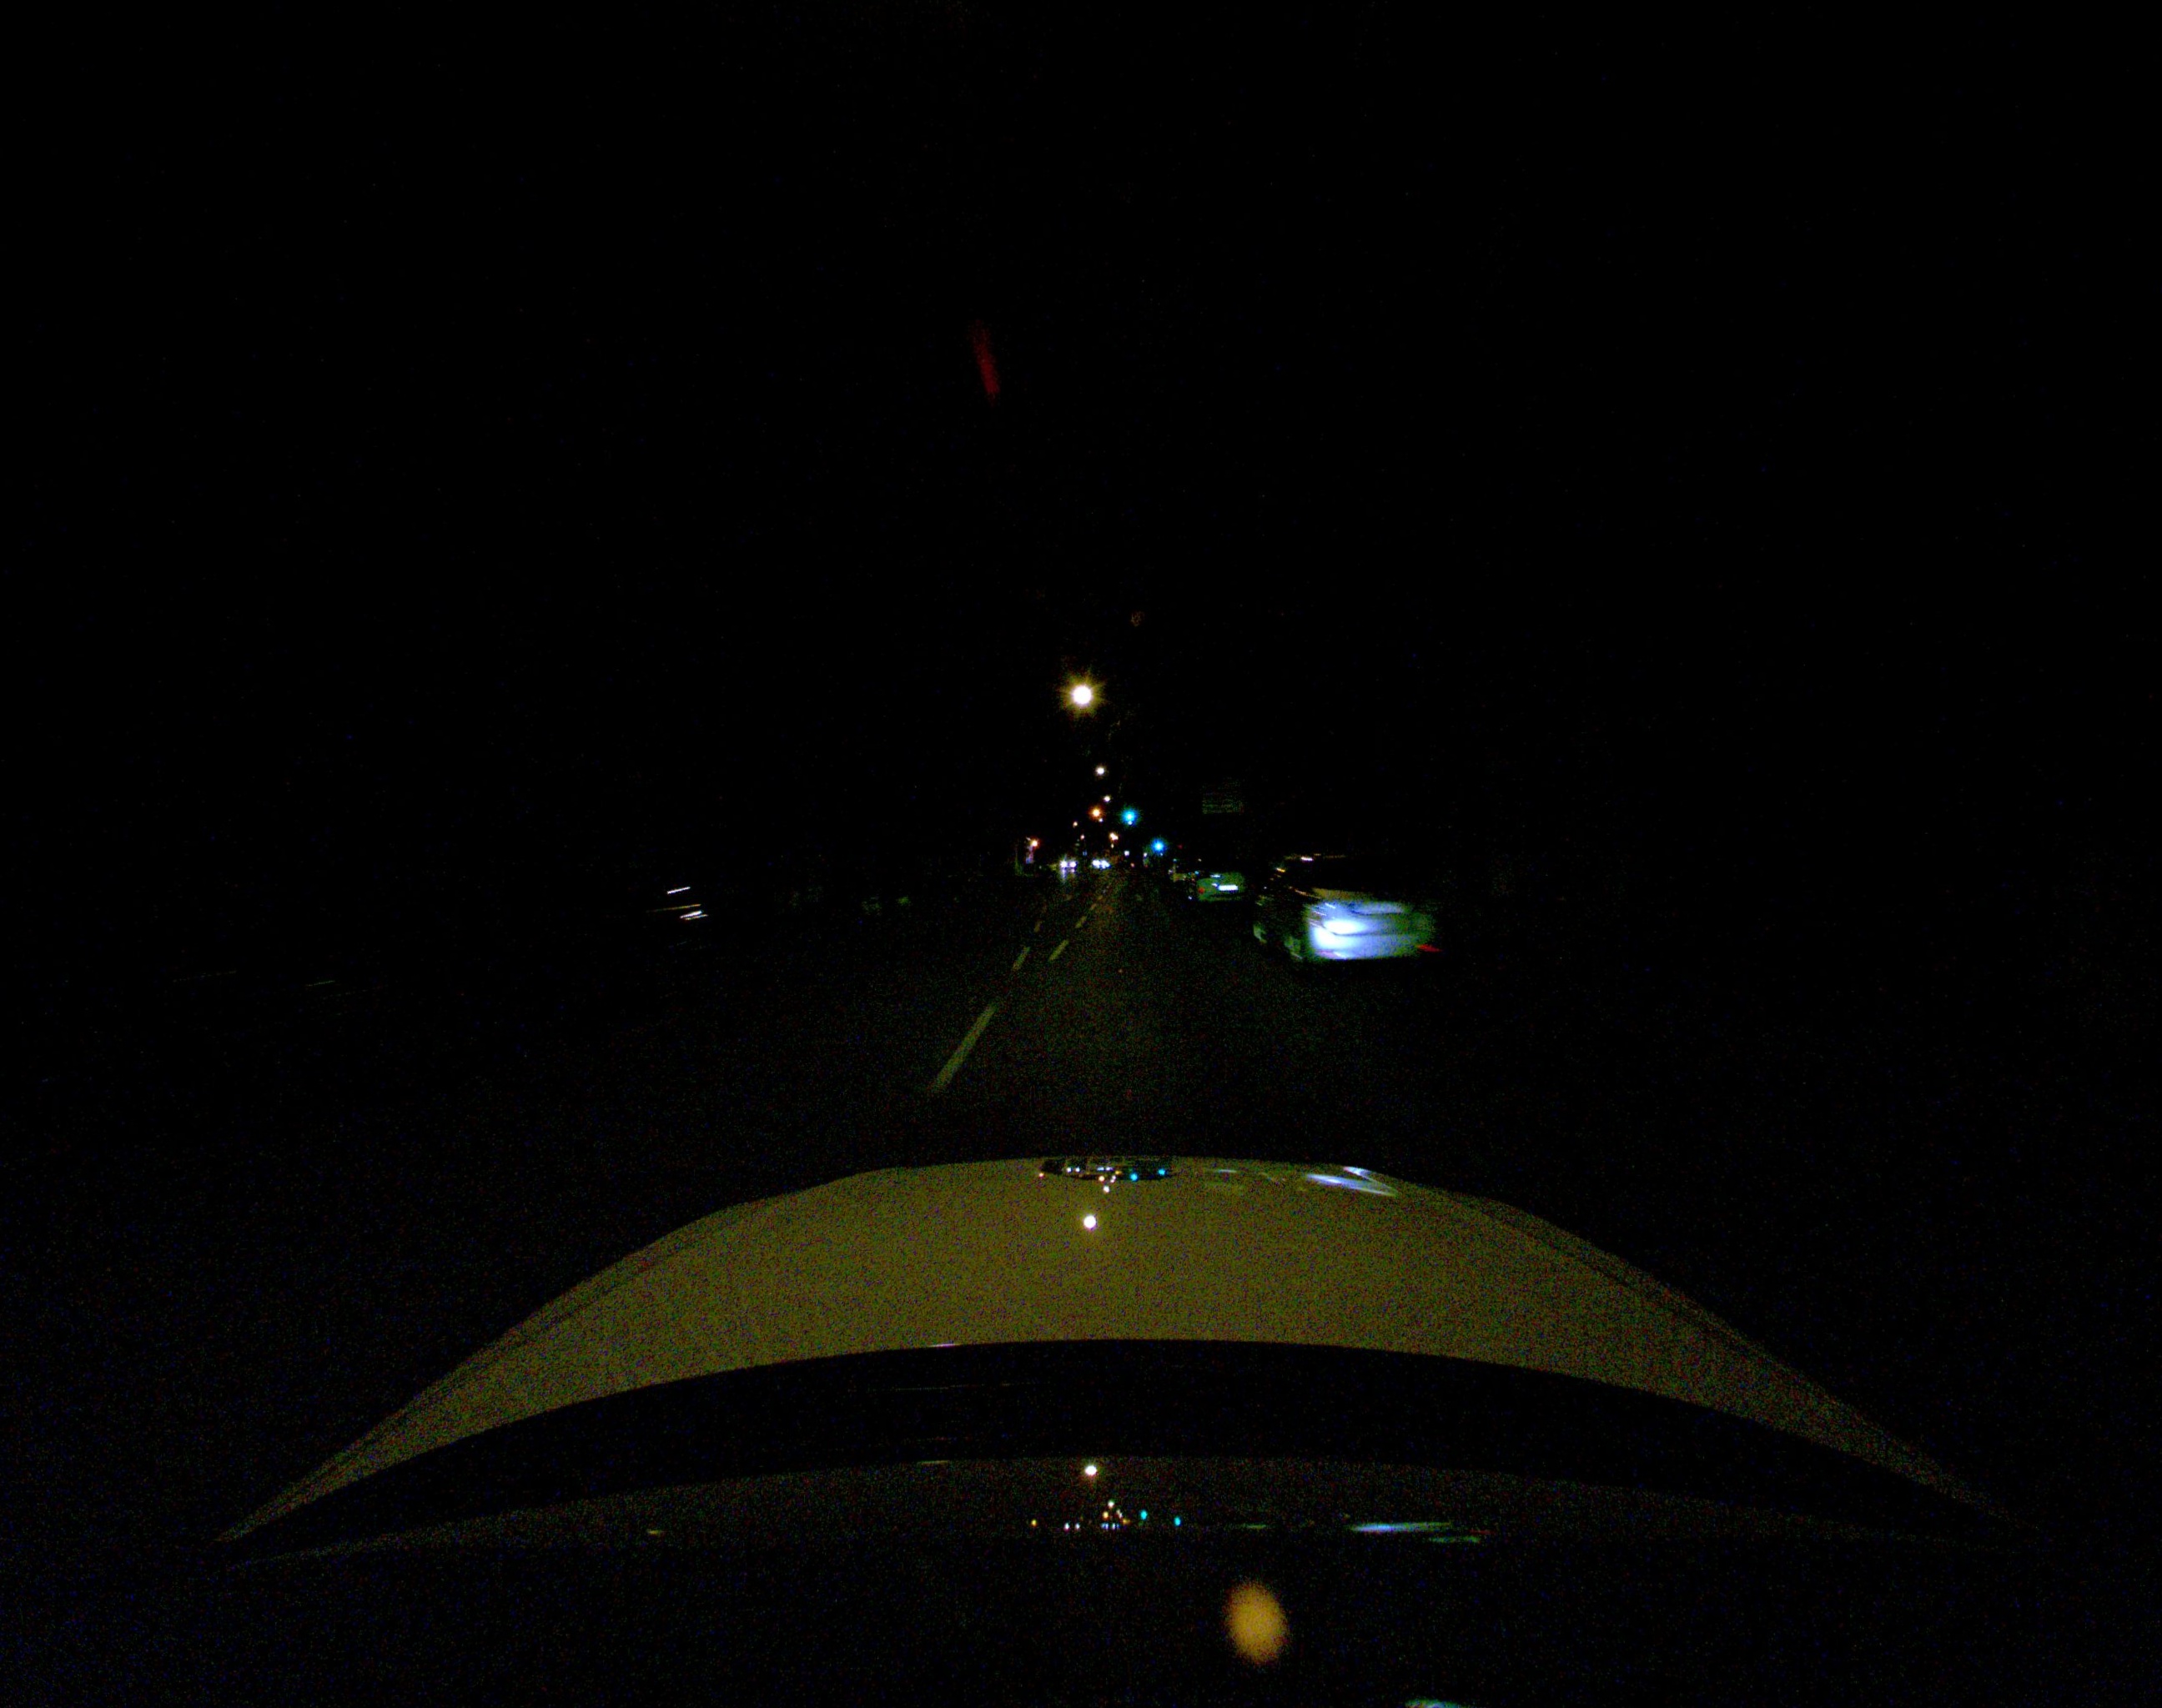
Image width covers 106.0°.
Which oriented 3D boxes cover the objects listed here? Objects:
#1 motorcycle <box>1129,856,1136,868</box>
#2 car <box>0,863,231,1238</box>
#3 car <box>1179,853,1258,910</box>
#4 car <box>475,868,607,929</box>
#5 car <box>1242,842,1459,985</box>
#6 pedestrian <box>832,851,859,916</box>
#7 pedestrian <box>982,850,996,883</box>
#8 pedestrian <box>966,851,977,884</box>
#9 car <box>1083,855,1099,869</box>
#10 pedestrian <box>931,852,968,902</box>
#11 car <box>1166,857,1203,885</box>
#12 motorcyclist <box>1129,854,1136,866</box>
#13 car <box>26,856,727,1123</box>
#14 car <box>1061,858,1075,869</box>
[{"bbox_3d":[7.142,1.111,112.988,0.927,1.752,2.626,0,-1,3],"label":"motorcycle"},{"bbox_3d":[-5.081,0.759,1.886,1.714,1.437,4.192,0,0,2],"label":"car"},{"bbox_3d":[4.100,0.772,24.948,1.861,1.526,4.152,-2,0,3],"label":"car"},{"bbox_3d":[-14.117,1.101,21.268,3.224,1.453,1.806,-1,-2,35],"label":"car"},{"bbox_3d":[3.549,0.691,11.600,1.804,1.594,4.276,-2,0,3],"label":"car"},{"bbox_3d":[-6.287,0.778,21.778,0.580,1.700,0.530,0,-1,-6],"label":"pedestrian"},{"bbox_3d":[-4.939,0.667,43.637,0.717,1.765,0.602,0,-1,-6],"label":"pedestrian"},{"bbox_3d":[-5.780,0.727,43.096,0.569,1.700,0.927,0,-1,-7],"label":"pedestrian"},{"bbox_3d":[1.266,0.978,103.171,1.936,1.717,4.003,0,-1,3],"label":"car"},{"bbox_3d":[-4.551,0.790,28.186,0.757,1.699,0.933,2,0,35],"label":"pedestrian"},{"bbox_3d":[5.557,0.892,44.031,1.623,1.496,3.415,0,0,1],"label":"car"},{"bbox_3d":[7.140,0.853,112.996,0.845,1.752,0.806,0,-1,3],"label":"motorcyclist"},{"bbox_3d":[-4.978,0.759,6.947,1.715,1.437,4.811,0,0,1],"label":"car"},{"bbox_3d":[-1.730,1.331,110.112,1.708,1.457,3.925,0,-1,3],"label":"car"}]
